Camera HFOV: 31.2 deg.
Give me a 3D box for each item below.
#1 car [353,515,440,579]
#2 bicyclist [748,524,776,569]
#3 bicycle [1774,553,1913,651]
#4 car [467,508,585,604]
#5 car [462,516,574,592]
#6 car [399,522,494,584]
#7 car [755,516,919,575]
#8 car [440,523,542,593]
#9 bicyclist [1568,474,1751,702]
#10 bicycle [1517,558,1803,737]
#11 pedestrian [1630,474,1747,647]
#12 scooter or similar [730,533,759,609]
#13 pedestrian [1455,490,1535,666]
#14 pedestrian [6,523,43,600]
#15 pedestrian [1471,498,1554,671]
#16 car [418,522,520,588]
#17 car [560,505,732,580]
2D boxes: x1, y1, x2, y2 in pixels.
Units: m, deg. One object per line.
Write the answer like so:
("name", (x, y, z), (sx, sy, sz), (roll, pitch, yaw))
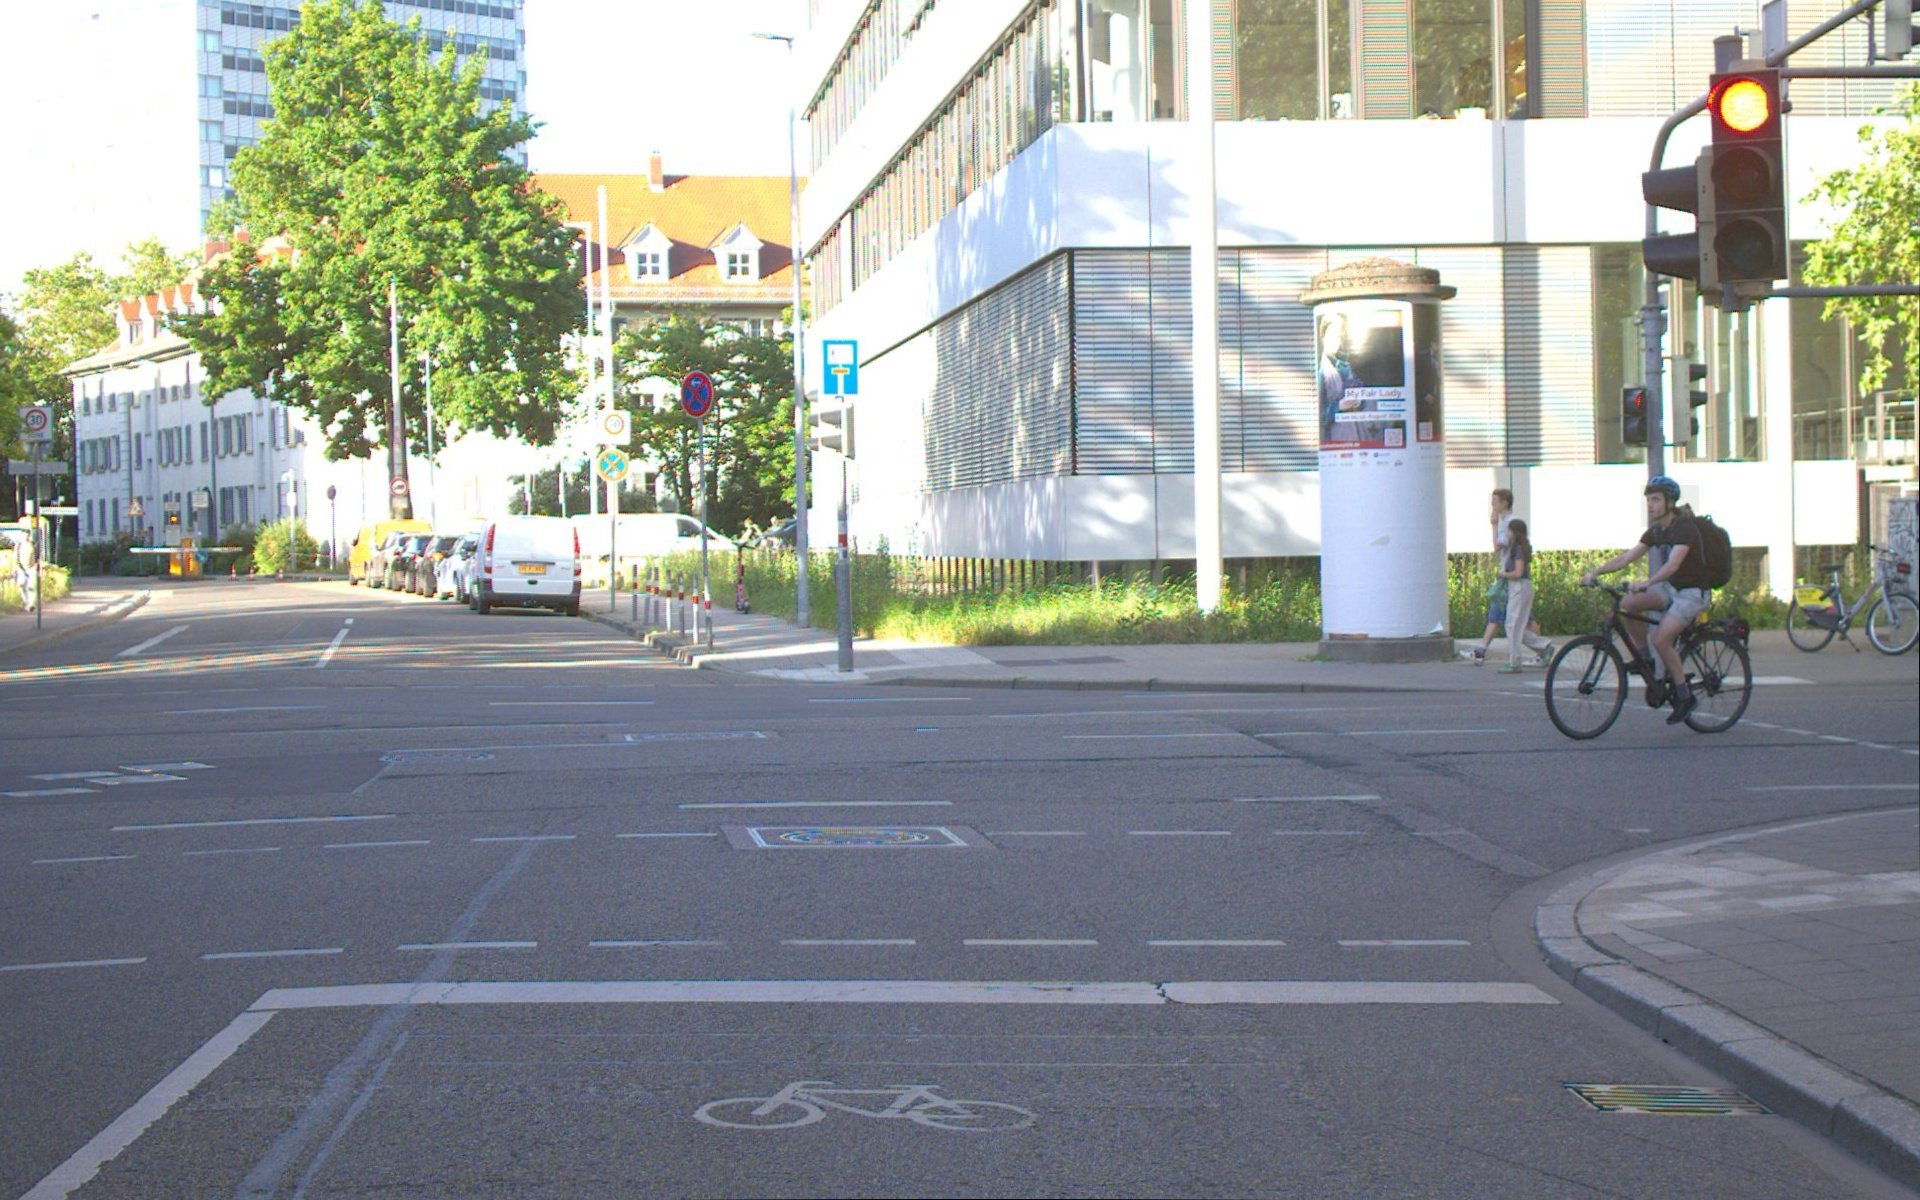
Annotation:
("car", (-15.738, -1.466, 95.840), (1.993, 1.719, 4.653), (1, 1, -14))
("bicyclist", (-6.237, -1.691, 108.230), (0.745, 1.392, 0.592), (-1, 1, -17))
("bicycle", (9.284, 0.017, 36.153), (0.378, 1.005, 1.432), (-2, 2, -42))
("car", (-8.219, -0.822, 64.828), (1.993, 1.719, 4.653), (1, 1, -10))
("car", (-9.171, -0.942, 71.041), (1.993, 1.493, 4.653), (1, 1, -11))
("car", (-12.879, -1.176, 85.984), (1.993, 1.493, 4.653), (1, 1, -13))
("car", (-3.754, -1.653, 104.780), (4.635, 1.719, 2.001), (1, 1, -16))
("car", (-10.504, -0.945, 76.813), (1.993, 1.493, 4.653), (1, 1, -11))
("bicyclist", (4.786, -0.092, 23.520), (1.075, 1.522, 0.592), (-2, 1, -27))
("bicycle", (4.800, 0.309, 23.520), (1.963, 1.148, 0.592), (-2, 1, -27))
("pedestrian", (7.714, -0.418, 36.411), (0.916, 1.809, 0.760), (1, 1, 43))
("scooter or similar", (-3.659, -0.497, 58.297), (0.437, 1.252, 1.420), (-1, 1, -4))
("pedestrian", (5.496, -0.229, 35.349), (0.765, 1.789, 0.647), (1, 0, 7))
("pedestrian", (-19.398, -0.798, 71.291), (0.699, 1.581, 0.637), (1, 0, -16))
("pedestrian", (5.549, -0.155, 34.541), (0.765, 1.713, 0.647), (1, 0, 7))
("car", (-11.626, -1.071, 81.260), (1.993, 1.493, 4.288), (1, 1, -13))
("car", (-9.401, -1.723, 102.936), (4.791, 2.151, 2.001), (1, 0, -17))
